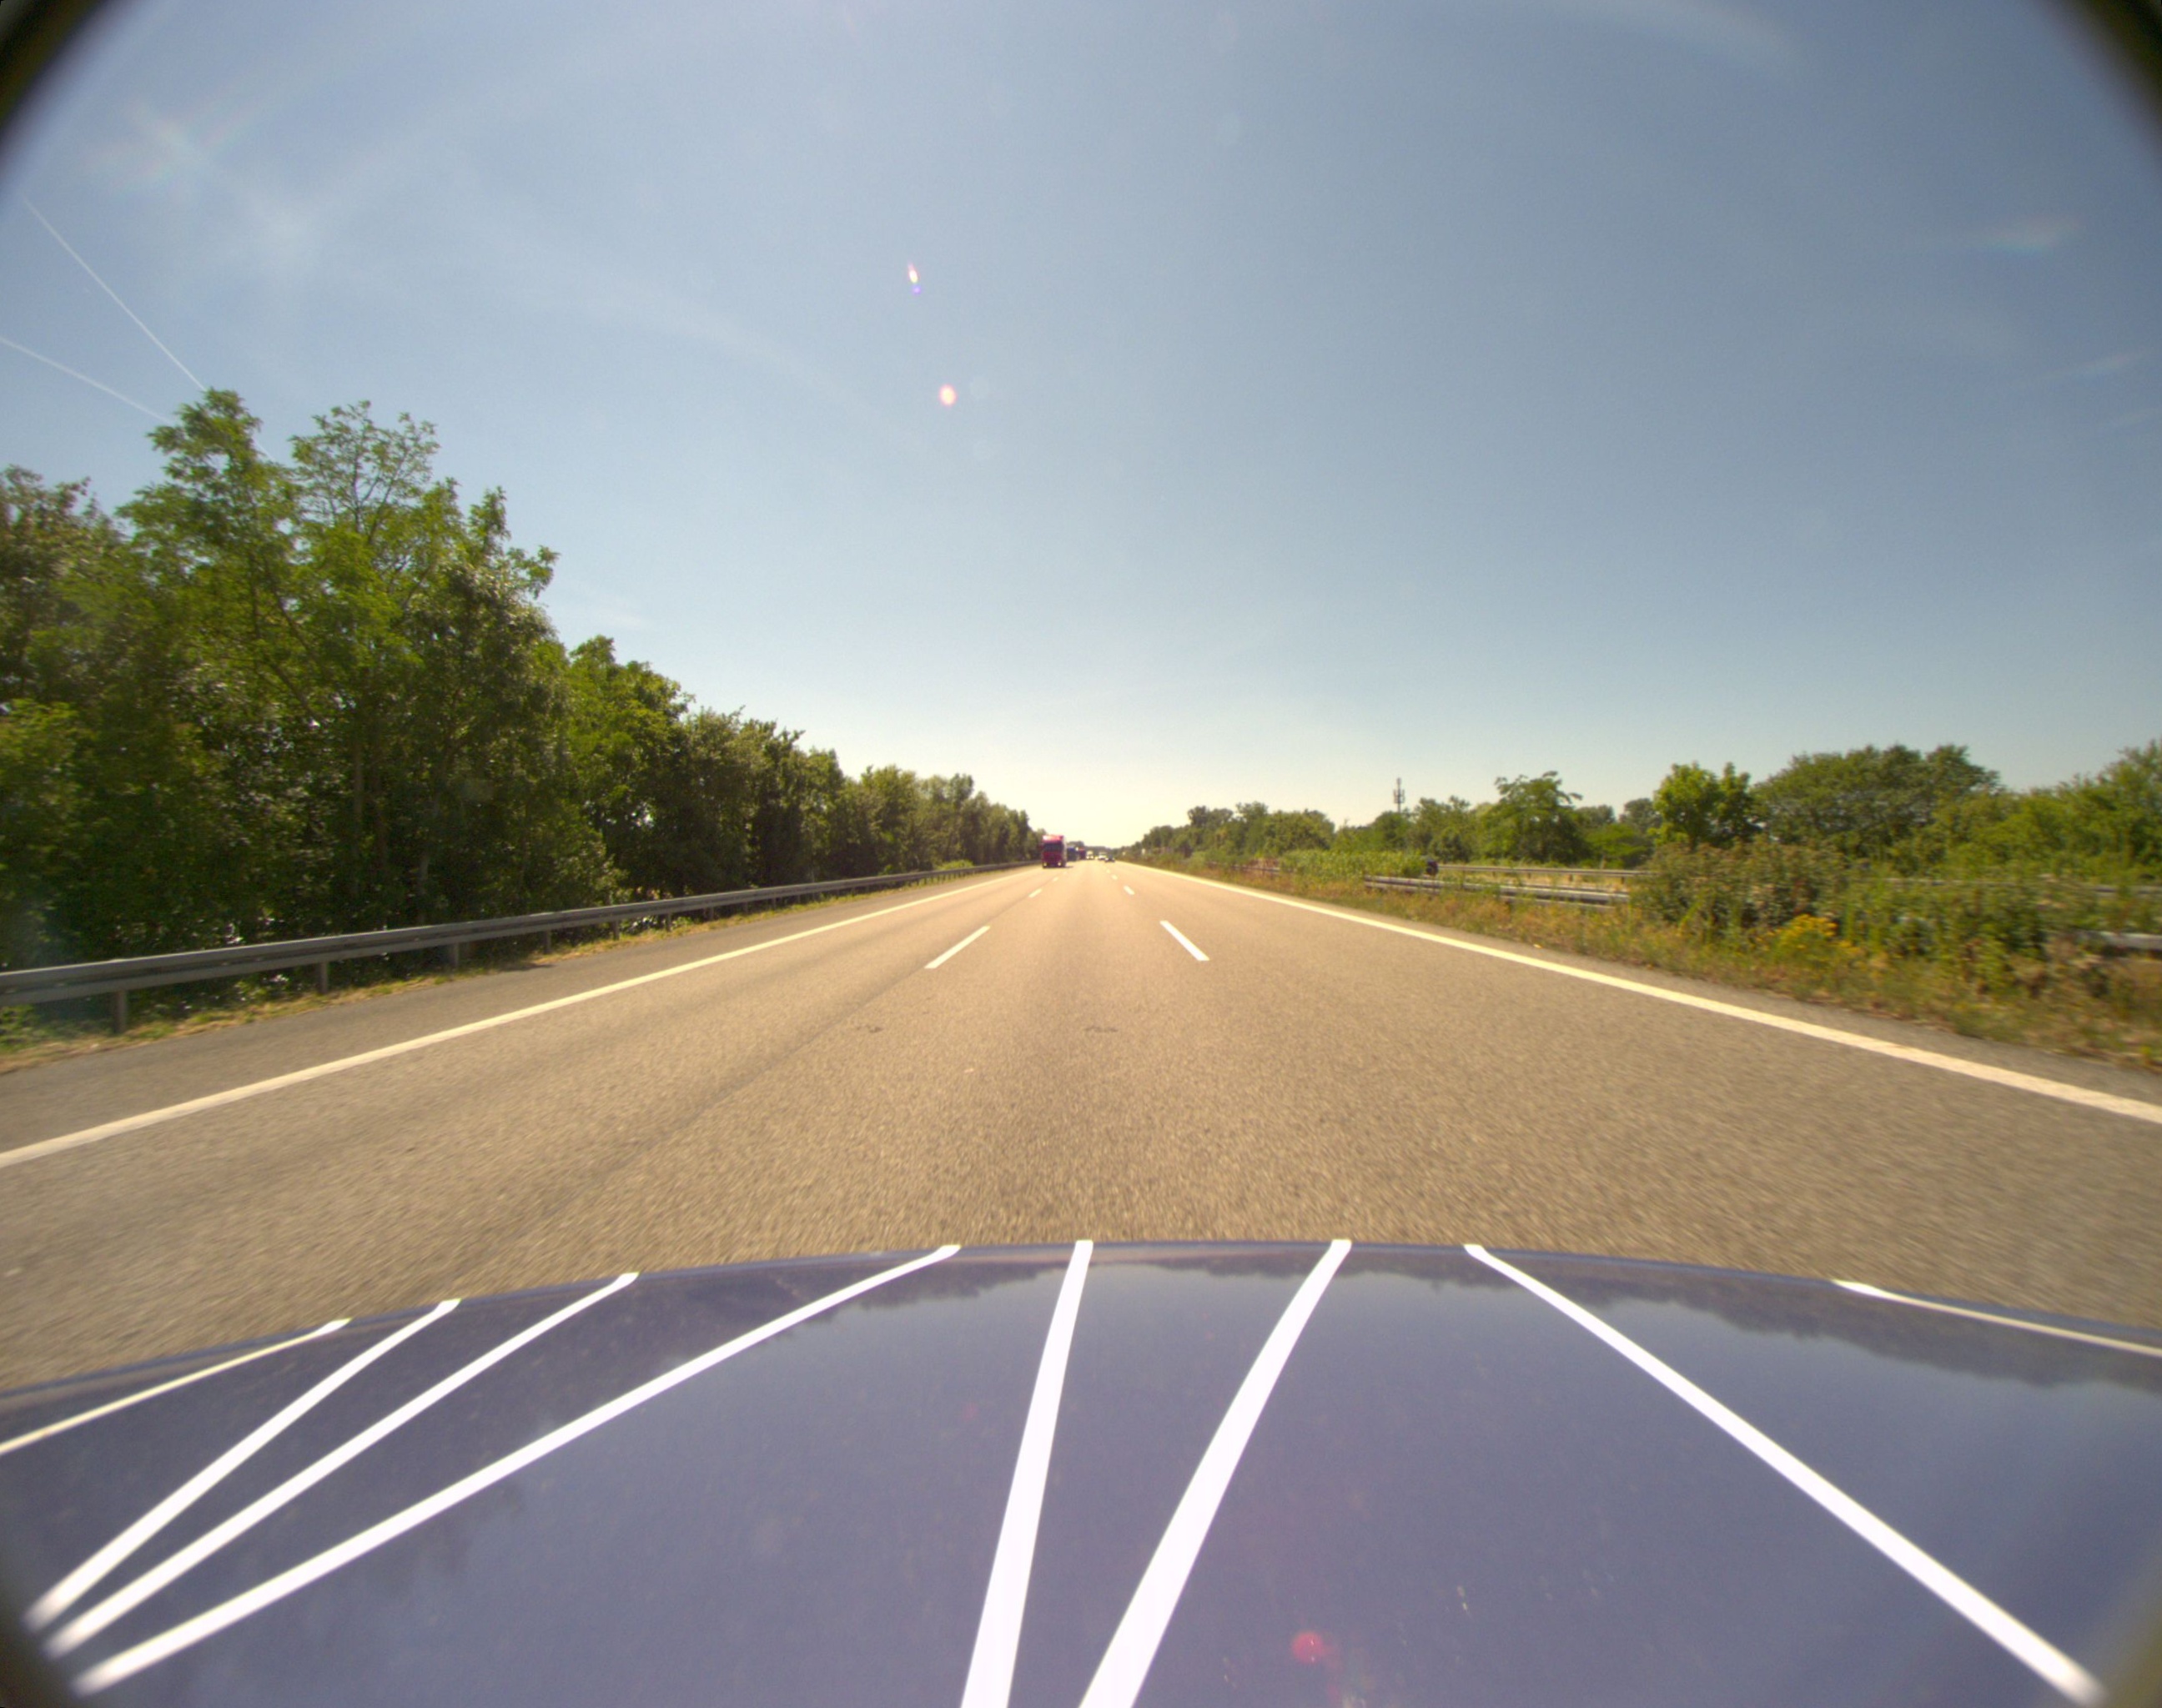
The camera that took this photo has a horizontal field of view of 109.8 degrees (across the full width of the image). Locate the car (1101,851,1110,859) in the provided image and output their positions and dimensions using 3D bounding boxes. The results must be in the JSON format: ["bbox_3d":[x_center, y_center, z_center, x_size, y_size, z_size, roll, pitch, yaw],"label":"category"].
[{"bbox_3d":[5.961,0.254,182.627,1.998,2.002,4.756,-2,0,1],"label":"car"}]

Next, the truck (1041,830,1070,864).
[{"bbox_3d":[-3.116,-0.806,95.717,2.938,3.934,10.260,-2,0,1],"label":"truck"}]

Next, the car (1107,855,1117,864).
[{"bbox_3d":[5.640,1.007,138.968,1.736,1.433,4.000,-2,0,1],"label":"car"}]

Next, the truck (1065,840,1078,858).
[{"bbox_3d":[-2.298,-1.221,187.933,2.938,4.429,10.260,-2,0,1],"label":"truck"}]

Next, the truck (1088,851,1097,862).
[{"bbox_3d":[3.608,0.712,239.773,2.726,3.391,9.769,-2,0,1],"label":"truck"}]

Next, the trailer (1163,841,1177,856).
[{"bbox_3d":[24.936,-1.587,213.446,2.939,3.952,10.628,-2,0,2],"label":"trailer"}]

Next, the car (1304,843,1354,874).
[{"bbox_3d":[17.519,0.296,53.954,1.971,2.002,4.647,-2,0,1],"label":"car"}]

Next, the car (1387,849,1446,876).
[{"bbox_3d":[22.201,0.527,50.529,1.971,1.662,4.422,-2,0,1],"label":"car"}]
